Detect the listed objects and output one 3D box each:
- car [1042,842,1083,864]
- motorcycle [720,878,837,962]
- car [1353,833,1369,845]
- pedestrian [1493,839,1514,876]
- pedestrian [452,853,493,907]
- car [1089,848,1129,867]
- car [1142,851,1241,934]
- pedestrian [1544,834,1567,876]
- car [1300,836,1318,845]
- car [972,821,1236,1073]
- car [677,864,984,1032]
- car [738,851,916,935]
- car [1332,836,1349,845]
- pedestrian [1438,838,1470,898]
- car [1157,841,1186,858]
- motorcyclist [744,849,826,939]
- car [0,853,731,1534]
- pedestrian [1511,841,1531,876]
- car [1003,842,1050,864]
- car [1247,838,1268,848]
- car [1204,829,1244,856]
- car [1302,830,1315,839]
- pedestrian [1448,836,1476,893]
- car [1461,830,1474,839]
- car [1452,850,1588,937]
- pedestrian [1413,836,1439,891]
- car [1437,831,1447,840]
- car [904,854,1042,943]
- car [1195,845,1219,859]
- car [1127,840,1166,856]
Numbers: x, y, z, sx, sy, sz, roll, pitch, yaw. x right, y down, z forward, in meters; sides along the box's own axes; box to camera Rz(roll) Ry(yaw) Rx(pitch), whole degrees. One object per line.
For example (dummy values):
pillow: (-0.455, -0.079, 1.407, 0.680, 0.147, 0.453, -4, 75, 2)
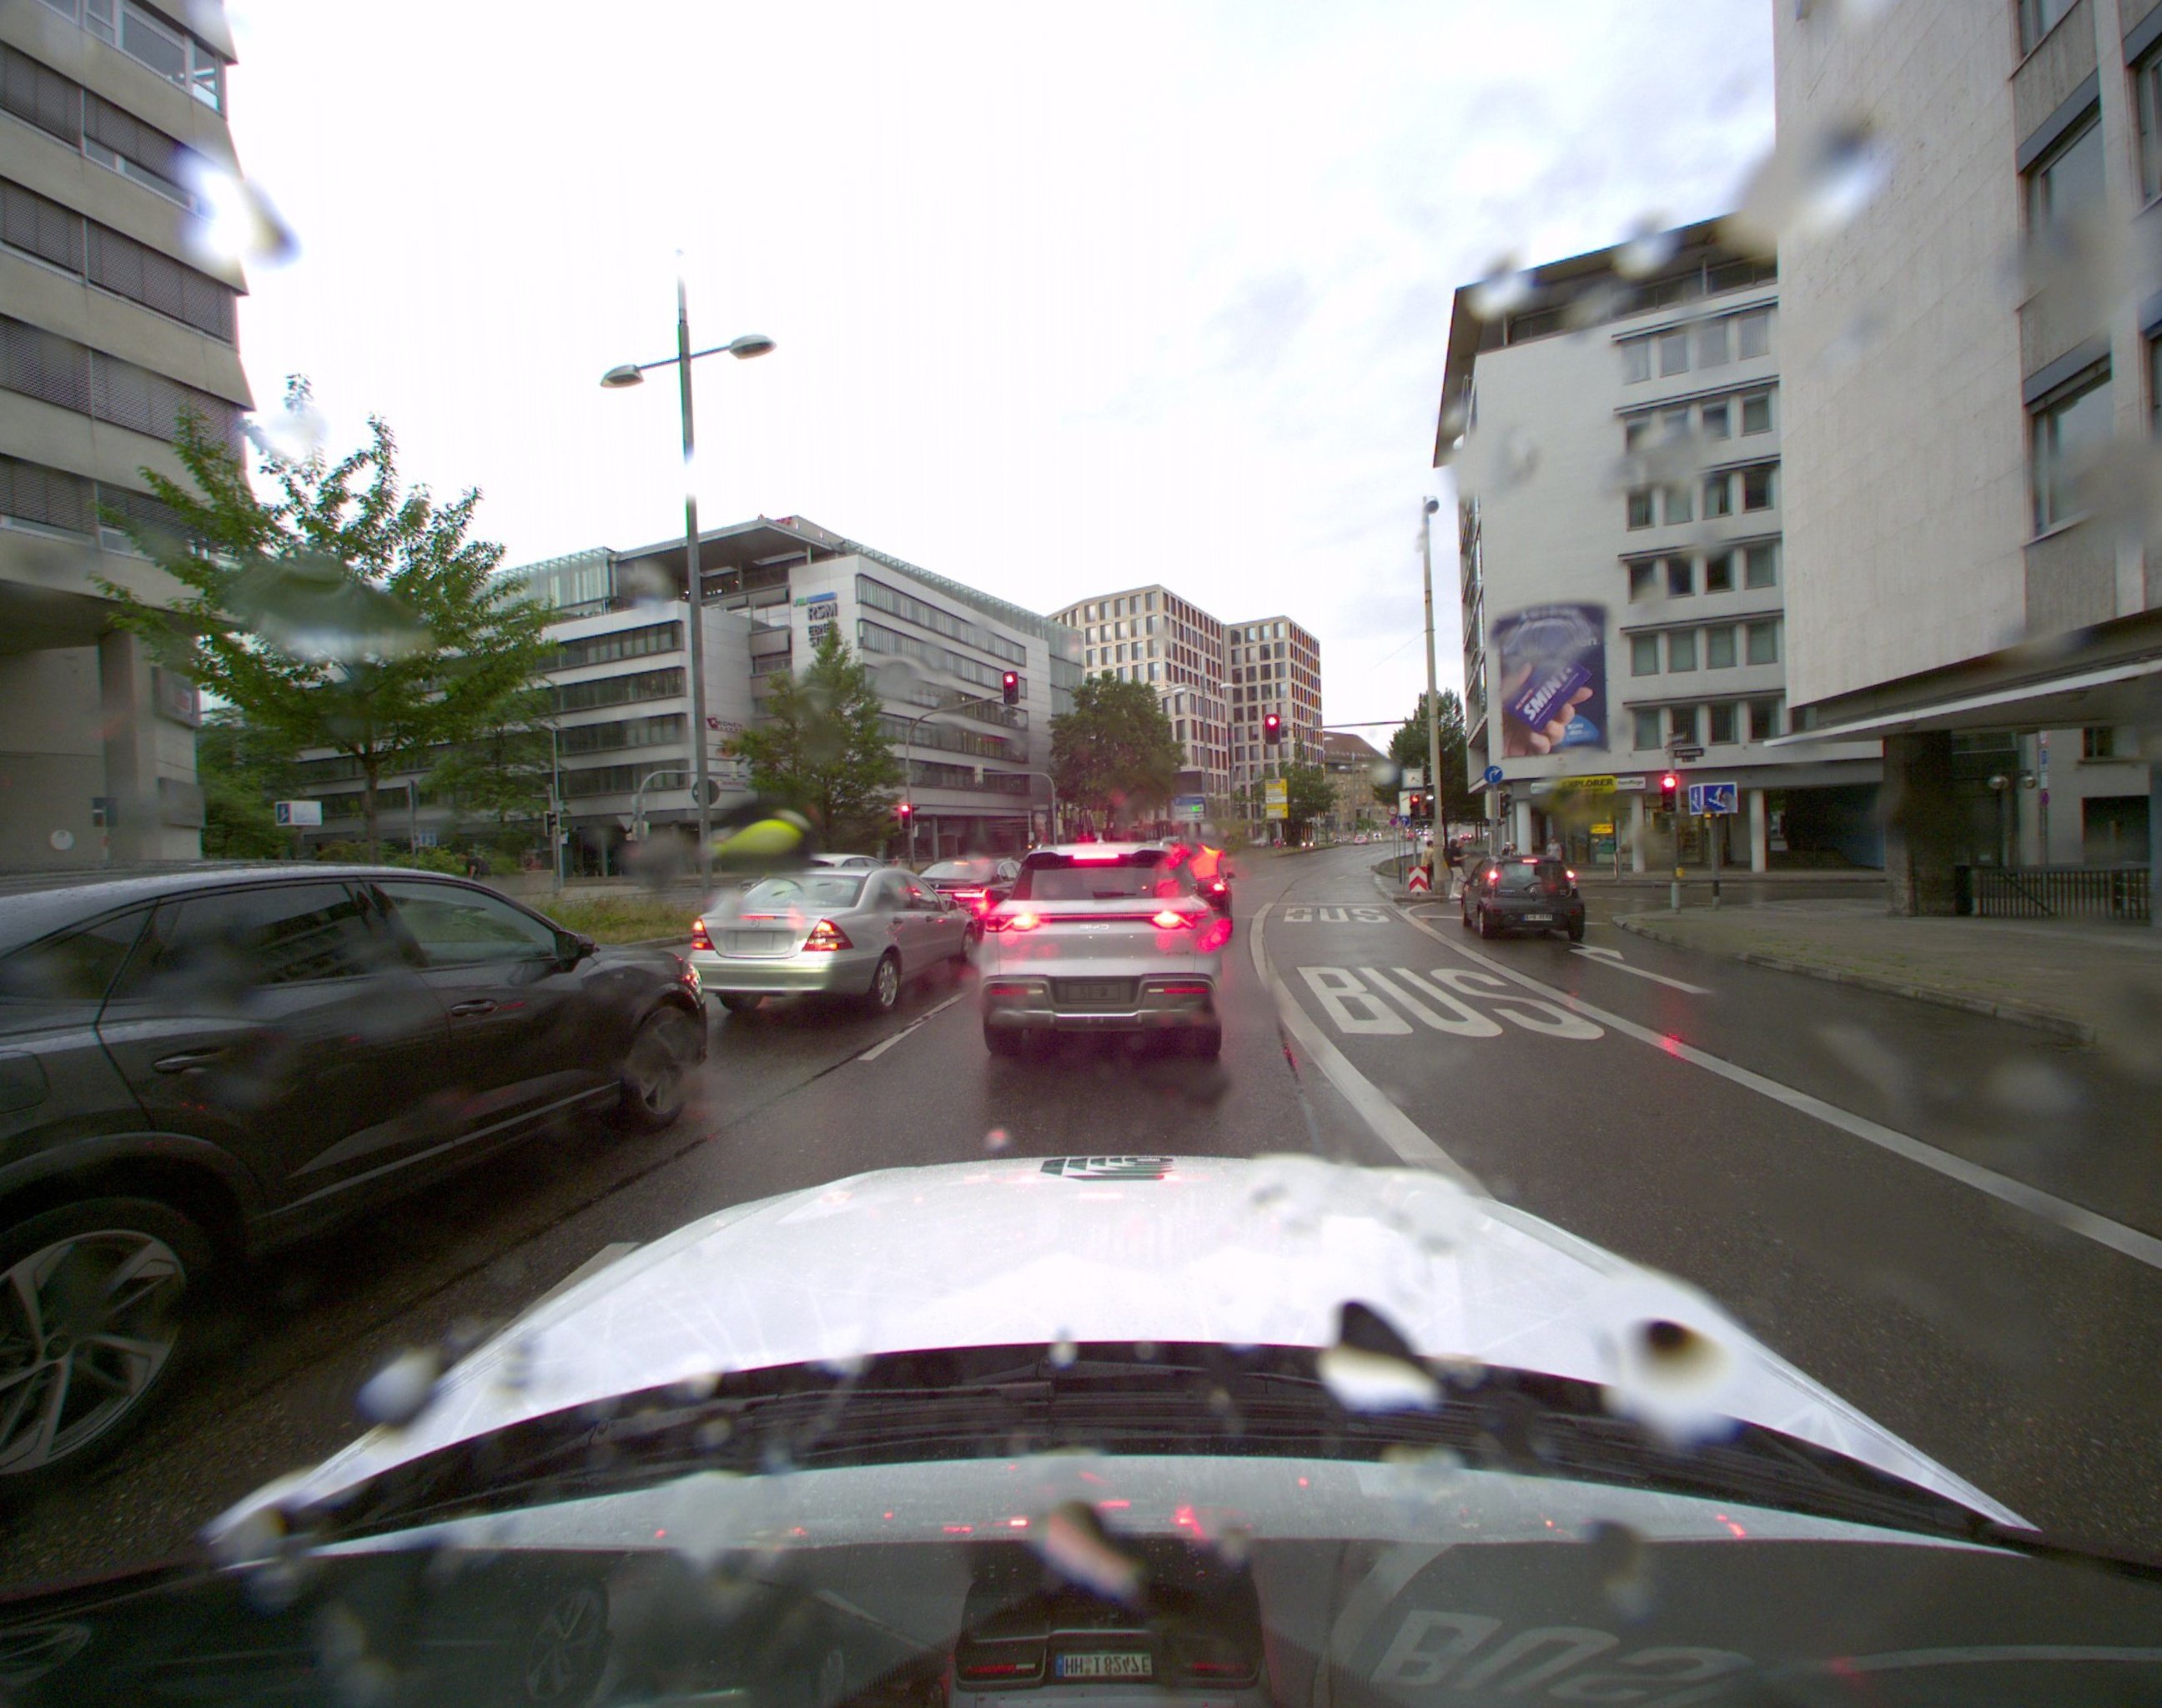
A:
car: (-1.283, -0.111, 59.281, 1.630, 1.536, 4.172, -1, 0, 18)
motorcycle: (-4.783, 1.001, 13.052, 0.795, 1.185, 2.034, -1, -1, 11)
car: (41.151, -2.224, 119.612, 1.871, 1.643, 4.023, -1, 0, 24)
pedestrian: (19.045, 0.143, 36.708, 0.657, 1.655, 0.662, -1, 0, -45)
pedestrian: (-19.390, 0.818, 25.965, 0.672, 1.683, 0.766, -1, 0, 15)
car: (2.088, 0.260, 59.618, 1.675, 1.385, 3.888, -1, -1, 21)
car: (2.375, 0.711, 16.703, 1.682, 1.486, 4.013, -1, -1, 12)
pedestrian: (20.565, 0.047, 35.324, 0.778, 1.794, 0.662, -1, 0, -45)
car: (38.991, -2.329, 139.110, 1.974, 1.488, 4.025, -1, 1, 29)
car: (0.285, 0.644, 7.489, 1.768, 1.679, 4.004, -1, -1, 4)
car: (-2.438, 0.829, 9.084, 1.561, 1.407, 4.120, -1, -1, 10)
car: (-4.963, 0.706, 16.519, 1.696, 1.486, 4.013, -1, -1, 11)
car: (46.421, -2.366, 145.661, 1.974, 1.488, 4.025, -1, 1, 29)
pedestrian: (11.095, 0.414, 24.236, 0.764, 1.731, 0.599, -1, 0, 16)
car: (8.979, -0.465, 80.512, 1.629, 1.581, 4.108, -1, 0, 23)
motorcyclist: (-4.752, 0.614, 13.124, 0.765, 1.380, 1.121, -1, -1, 11)
car: (-3.213, 0.776, 3.230, 1.642, 1.521, 4.274, -1, 0, 2)
pedestrian: (19.487, 0.188, 36.071, 0.657, 1.543, 0.618, -1, 0, -45)
car: (-4.119, -0.104, 62.100, 1.976, 1.610, 4.022, -1, 0, 22)
car: (26.464, -1.662, 122.256, 1.974, 1.488, 4.025, -1, 1, 29)
car: (11.450, -0.872, 65.046, 1.975, 2.014, 4.876, -1, -1, 25)
car: (45.469, -3.887, 162.589, 1.590, 1.741, 3.467, -1, -1, 34)
pedestrian: (12.424, 0.333, 26.563, 0.742, 1.798, 0.821, -1, 1, 22)
car: (70.655, -3.605, 148.801, 1.677, 1.486, 4.025, -1, -1, 32)
car: (8.165, 0.670, 15.474, 1.558, 1.429, 4.018, -1, -1, 18)
pedestrian: (11.536, 0.303, 27.217, 0.742, 1.798, 0.821, -1, 1, 22)
car: (87.257, -4.453, 196.852, 1.975, 2.013, 4.025, -1, 0, 29)
car: (-1.923, 0.770, 15.703, 1.561, 1.486, 4.010, -1, -1, 9)
car: (15.532, -0.299, 99.983, 1.616, 1.559, 4.620, -1, 1, 25)
car: (6.810, -0.666, 83.750, 1.796, 1.510, 5.229, -1, 1, 32)
